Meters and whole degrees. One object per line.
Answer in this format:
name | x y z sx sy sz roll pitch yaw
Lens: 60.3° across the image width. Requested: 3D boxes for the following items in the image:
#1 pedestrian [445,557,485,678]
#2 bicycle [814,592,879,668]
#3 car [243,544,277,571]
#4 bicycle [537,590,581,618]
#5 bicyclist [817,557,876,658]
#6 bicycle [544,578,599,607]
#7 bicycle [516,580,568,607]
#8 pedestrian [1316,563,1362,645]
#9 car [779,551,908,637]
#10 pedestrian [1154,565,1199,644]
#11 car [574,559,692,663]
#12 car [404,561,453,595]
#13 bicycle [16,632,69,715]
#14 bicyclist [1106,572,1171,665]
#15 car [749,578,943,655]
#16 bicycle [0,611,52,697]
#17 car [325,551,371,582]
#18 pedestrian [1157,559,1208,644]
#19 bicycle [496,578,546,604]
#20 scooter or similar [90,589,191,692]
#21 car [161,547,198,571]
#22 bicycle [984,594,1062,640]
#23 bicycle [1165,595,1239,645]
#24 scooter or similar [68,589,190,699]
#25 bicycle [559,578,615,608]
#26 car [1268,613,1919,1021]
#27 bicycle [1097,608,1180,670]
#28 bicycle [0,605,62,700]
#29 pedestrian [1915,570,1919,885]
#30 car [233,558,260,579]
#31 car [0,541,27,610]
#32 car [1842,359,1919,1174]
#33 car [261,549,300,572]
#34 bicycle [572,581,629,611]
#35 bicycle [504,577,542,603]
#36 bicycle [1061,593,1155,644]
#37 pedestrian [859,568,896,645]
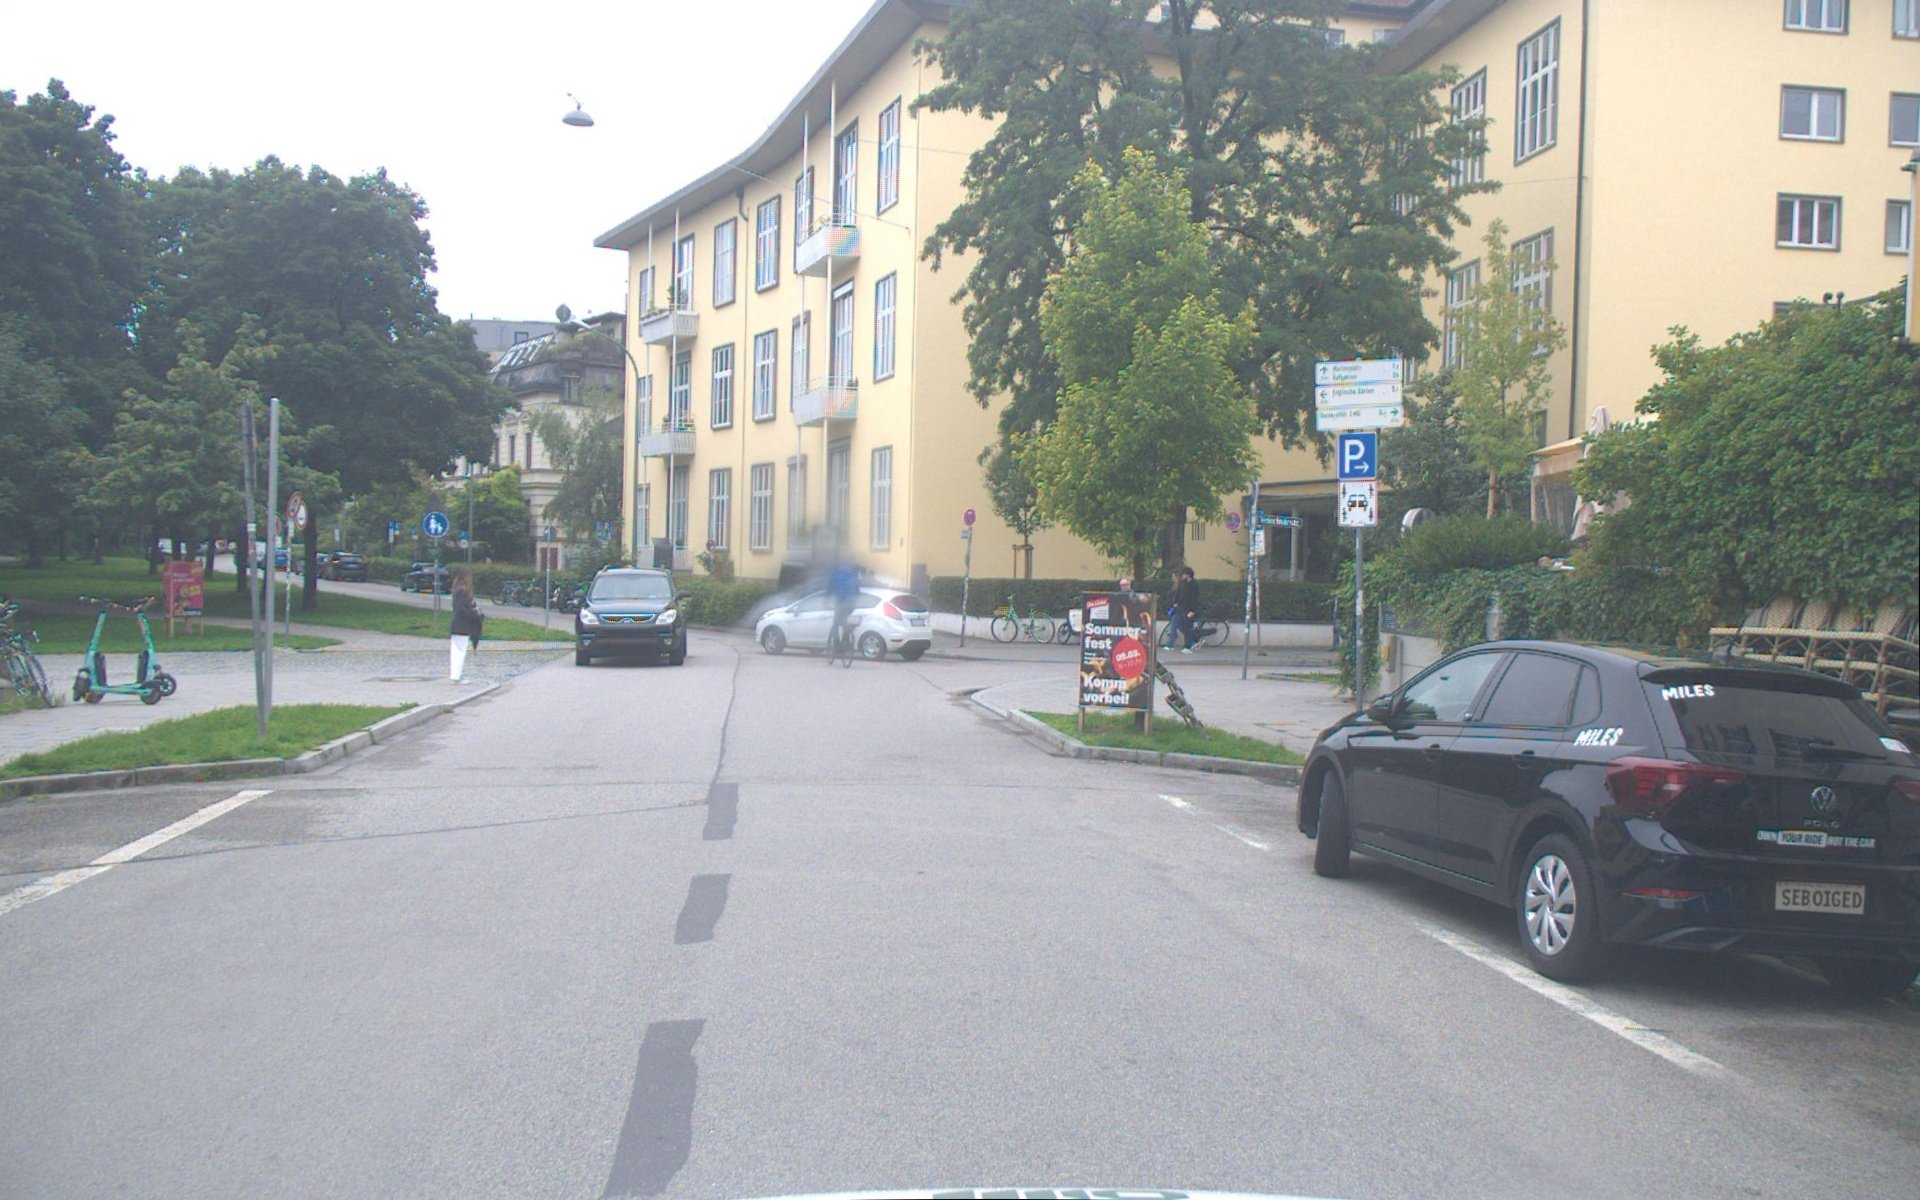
pedestrian | -7.210 0.245 24.089 0.534 1.726 0.663 -1 1 -18
bicycle | -2.086 0.526 30.117 0.904 1.274 2.316 1 1 -10
car | -54.442 -3.319 128.591 2.042 2.000 4.932 1 1 -28
bicycle | -15.260 0.156 62.972 0.521 1.046 1.976 1 0 25
bicyclist | -2.078 0.126 30.138 0.898 1.795 1.212 1 1 -12
bicycle | -14.488 -0.264 61.754 1.963 1.046 0.609 1 0 -45
bicycle | -16.822 -0.270 66.561 1.963 1.046 0.609 1 0 -45
pedestrian | 8.778 0.085 38.305 0.834 1.890 0.765 0 1 -8
car | -2.852 -0.196 39.446 1.846 1.920 4.592 1 1 -20
pedestrian | 4.941 0.102 37.739 0.811 1.776 0.739 1 1 -8
car | -6.072 0.143 30.774 1.958 1.749 4.603 1 1 -11
car | -25.999 -1.095 80.870 1.629 1.585 3.525 1 1 -29
bicycle | -10.633 0.834 19.182 0.427 0.909 1.319 1 -1 -25
bicyclist | 3.273 0.326 30.266 0.858 1.637 1.049 2 1 24
car | -2.364 0.304 34.173 3.645 1.431 1.750 2 1 29
bicycle | -11.747 0.651 20.368 1.248 0.994 0.413 1 1 30
car | -36.109 -1.990 97.579 1.775 1.709 3.957 0 1 -32
pedestrian | 4.943 0.026 36.744 0.971 1.840 0.659 1 1 -8
bicycle | -18.141 -0.360 68.364 1.963 1.046 0.609 1 0 -45
scooter or similar | -10.150 0.499 20.512 0.429 1.234 1.052 1 -1 25
car | -55.263 -2.932 117.015 1.973 1.628 4.421 1 1 -31
bicycle | 1.512 0.404 39.945 1.911 1.103 0.527 0 -1 36
bicycle | 5.661 0.467 38.714 1.650 1.150 0.459 1 1 -8
scooter or similar | -9.936 0.522 19.787 1.233 1.266 0.395 1 -1 5
bicycle | -13.691 -0.244 60.794 1.963 1.046 0.609 1 0 -45
car | 3.125 0.894 8.460 1.683 1.418 3.991 5 0 -10
bicycle | 3.293 0.694 30.349 0.859 1.037 2.189 2 1 24
bicycle | -11.550 0.639 20.425 1.167 1.130 0.300 1 -1 35
pedestrian | 5.442 0.675 8.388 0.666 1.657 0.828 0 0 -9
car | -59.733 -2.659 138.397 1.709 1.732 3.962 1 1 -29
car | -29.695 -0.729 48.324 1.746 2.048 3.998 1 1 24
car | 3.884 0.503 2.407 2.069 2.251 5.023 6 -1 -5
car | -49.529 -2.893 120.596 1.974 1.628 4.209 1 1 -32
bicycle | -13.009 -0.136 59.895 1.963 1.046 0.609 1 0 -45
bicycle | -18.076 -0.418 68.417 0.402 1.032 1.528 1 2 42
bicycle | 3.489 0.426 38.932 2.121 1.135 0.641 1 1 10
pedestrian | -1.959 0.138 39.361 0.832 1.788 0.953 1 1 -5
